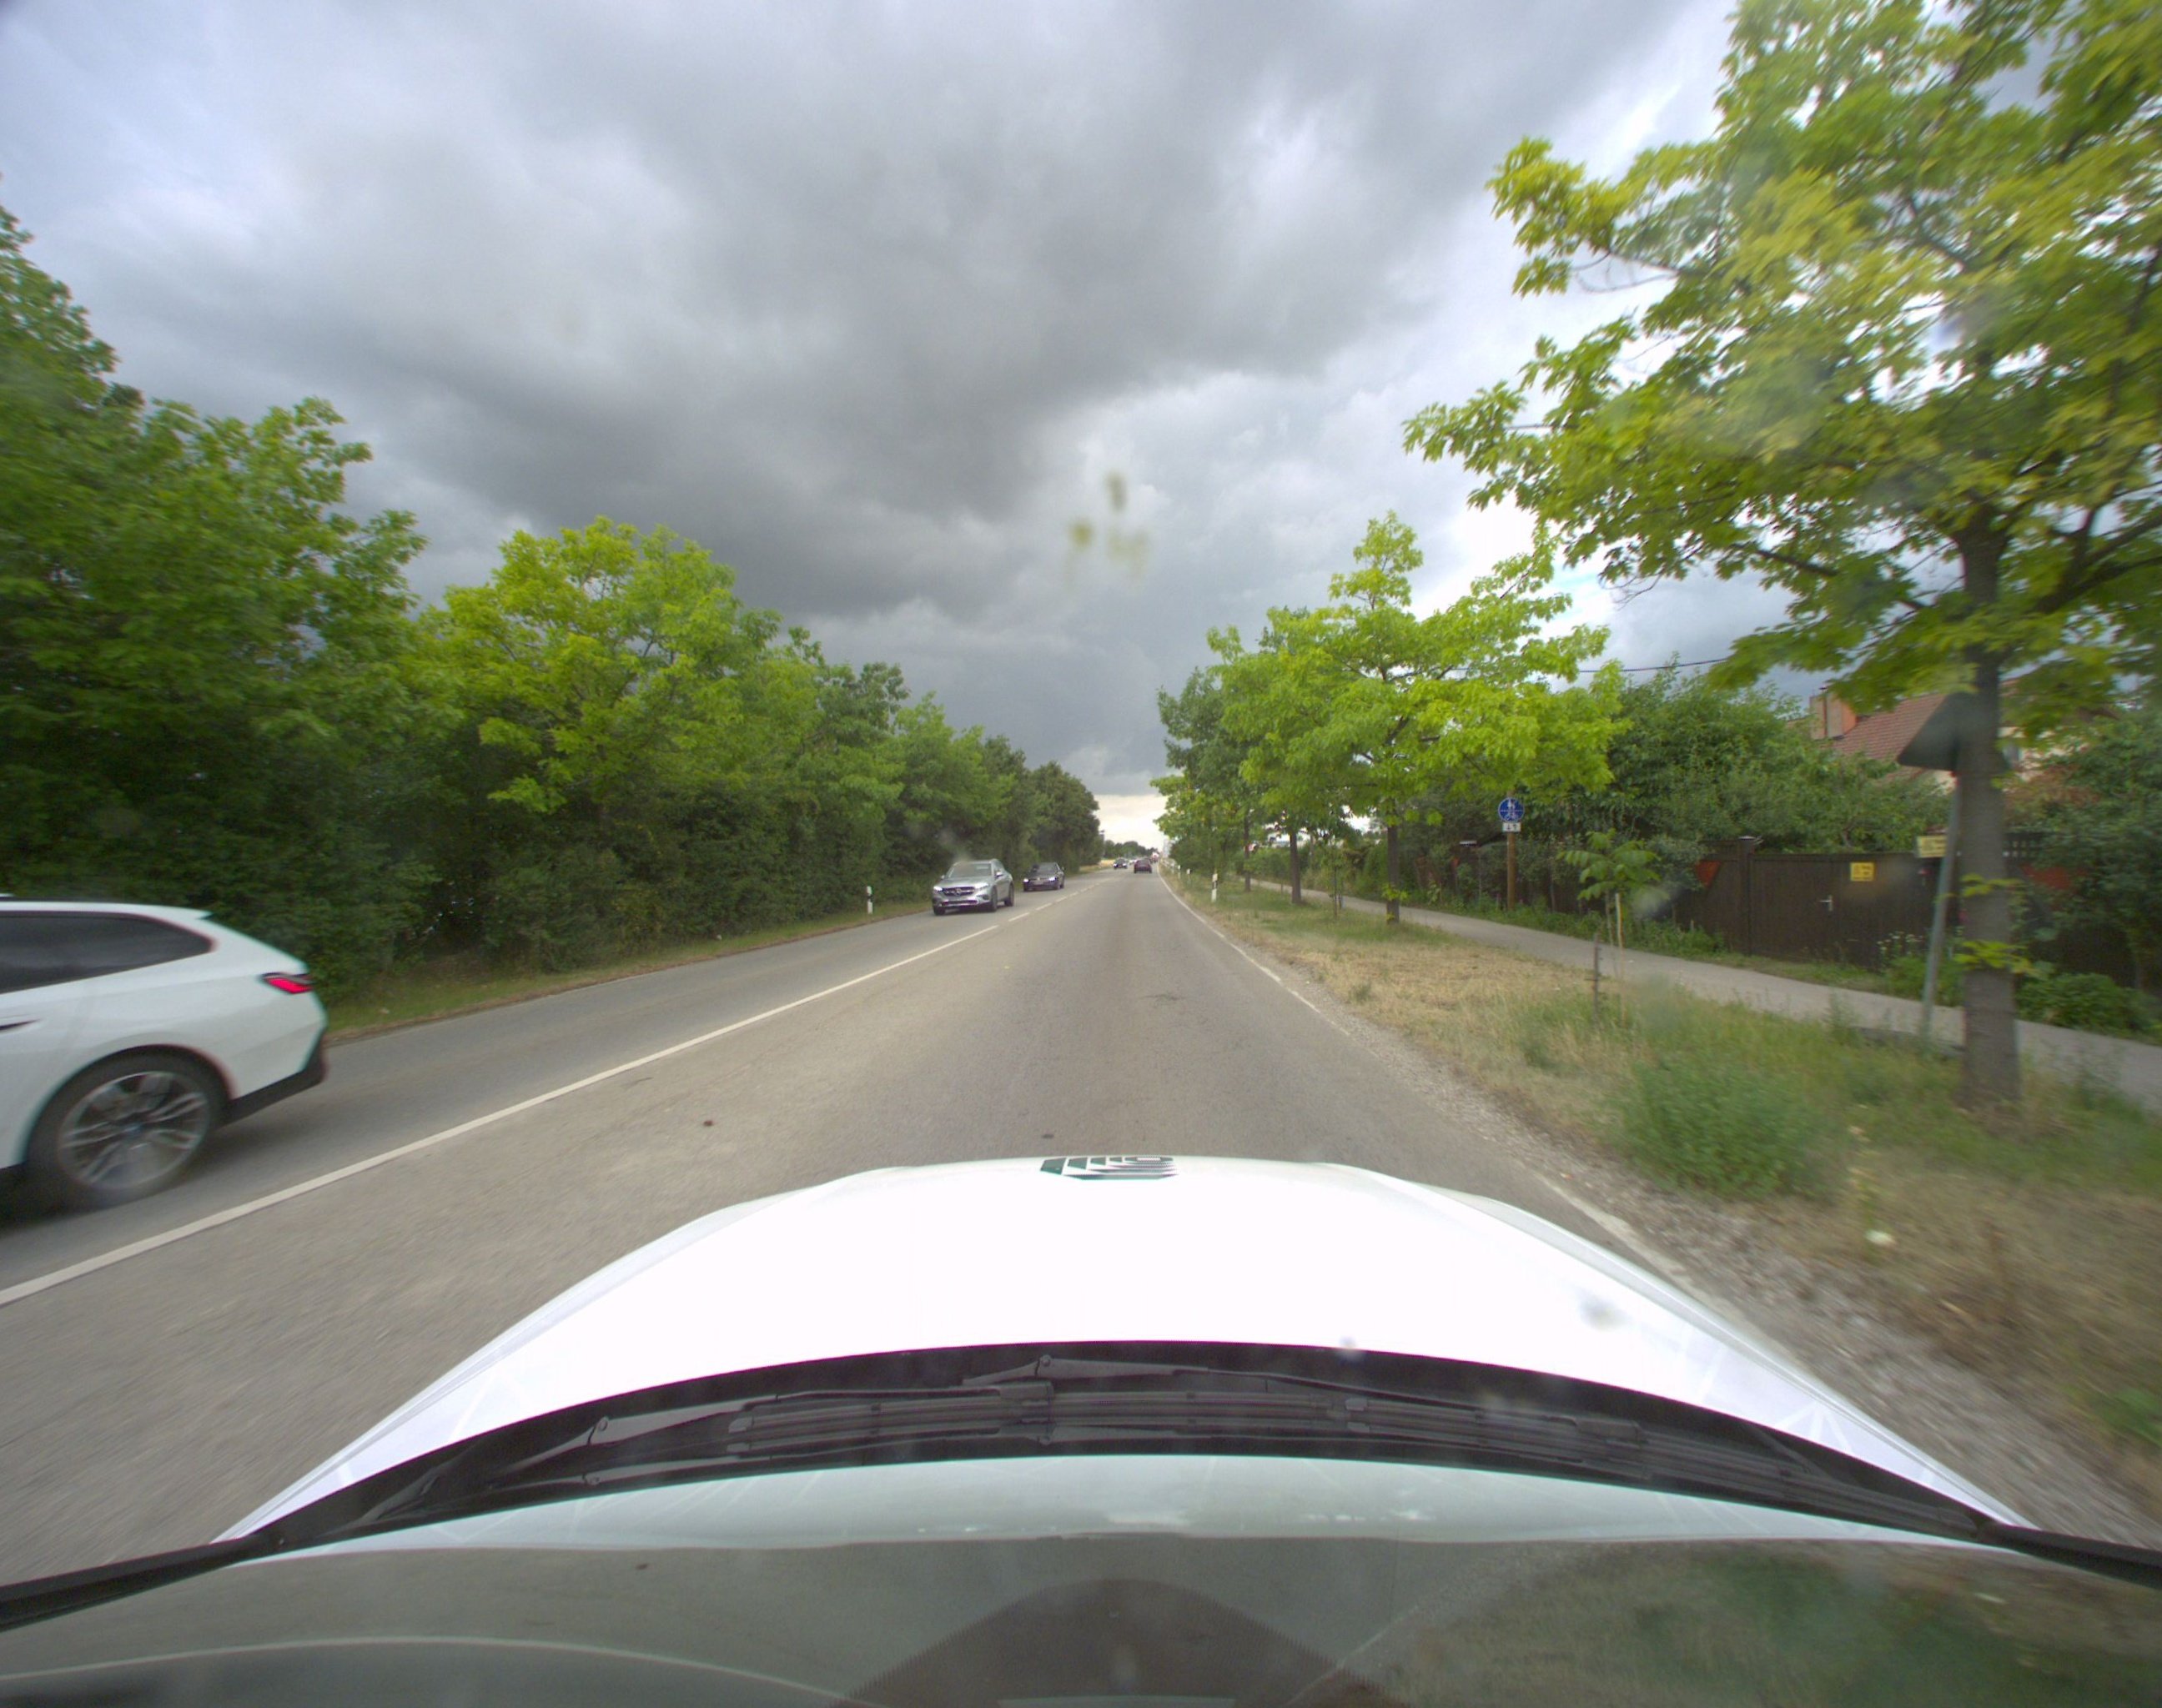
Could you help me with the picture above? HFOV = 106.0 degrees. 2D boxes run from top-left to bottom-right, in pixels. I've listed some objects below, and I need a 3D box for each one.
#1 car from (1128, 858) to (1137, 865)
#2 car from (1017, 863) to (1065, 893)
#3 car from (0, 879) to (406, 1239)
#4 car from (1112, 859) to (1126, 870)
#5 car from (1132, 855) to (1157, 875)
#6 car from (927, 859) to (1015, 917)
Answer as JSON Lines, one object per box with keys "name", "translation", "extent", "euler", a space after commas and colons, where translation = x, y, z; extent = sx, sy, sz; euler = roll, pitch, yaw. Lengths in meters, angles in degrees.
{"name": "car", "translation": [12.581, 1.765, 197.593], "extent": [1.984, 1.684, 4.816], "euler": [-2, -1, 5]}
{"name": "car", "translation": [-2.050, 1.222, 43.169], "extent": [1.985, 1.419, 4.481], "euler": [-3, -1, 3]}
{"name": "car", "translation": [-5.774, 0.964, 2.886], "extent": [2.201, 1.454, 4.953], "euler": [-3, 0, 7]}
{"name": "car", "translation": [5.676, 1.543, 120.804], "extent": [1.932, 1.586, 4.559], "euler": [-3, -1, 3]}
{"name": "car", "translation": [6.438, 1.156, 83.383], "extent": [2.362, 1.880, 4.481], "euler": [-3, -1, 3]}
{"name": "car", "translation": [-3.401, 1.038, 26.214], "extent": [1.986, 1.601, 4.666], "euler": [-3, -1, 2]}
